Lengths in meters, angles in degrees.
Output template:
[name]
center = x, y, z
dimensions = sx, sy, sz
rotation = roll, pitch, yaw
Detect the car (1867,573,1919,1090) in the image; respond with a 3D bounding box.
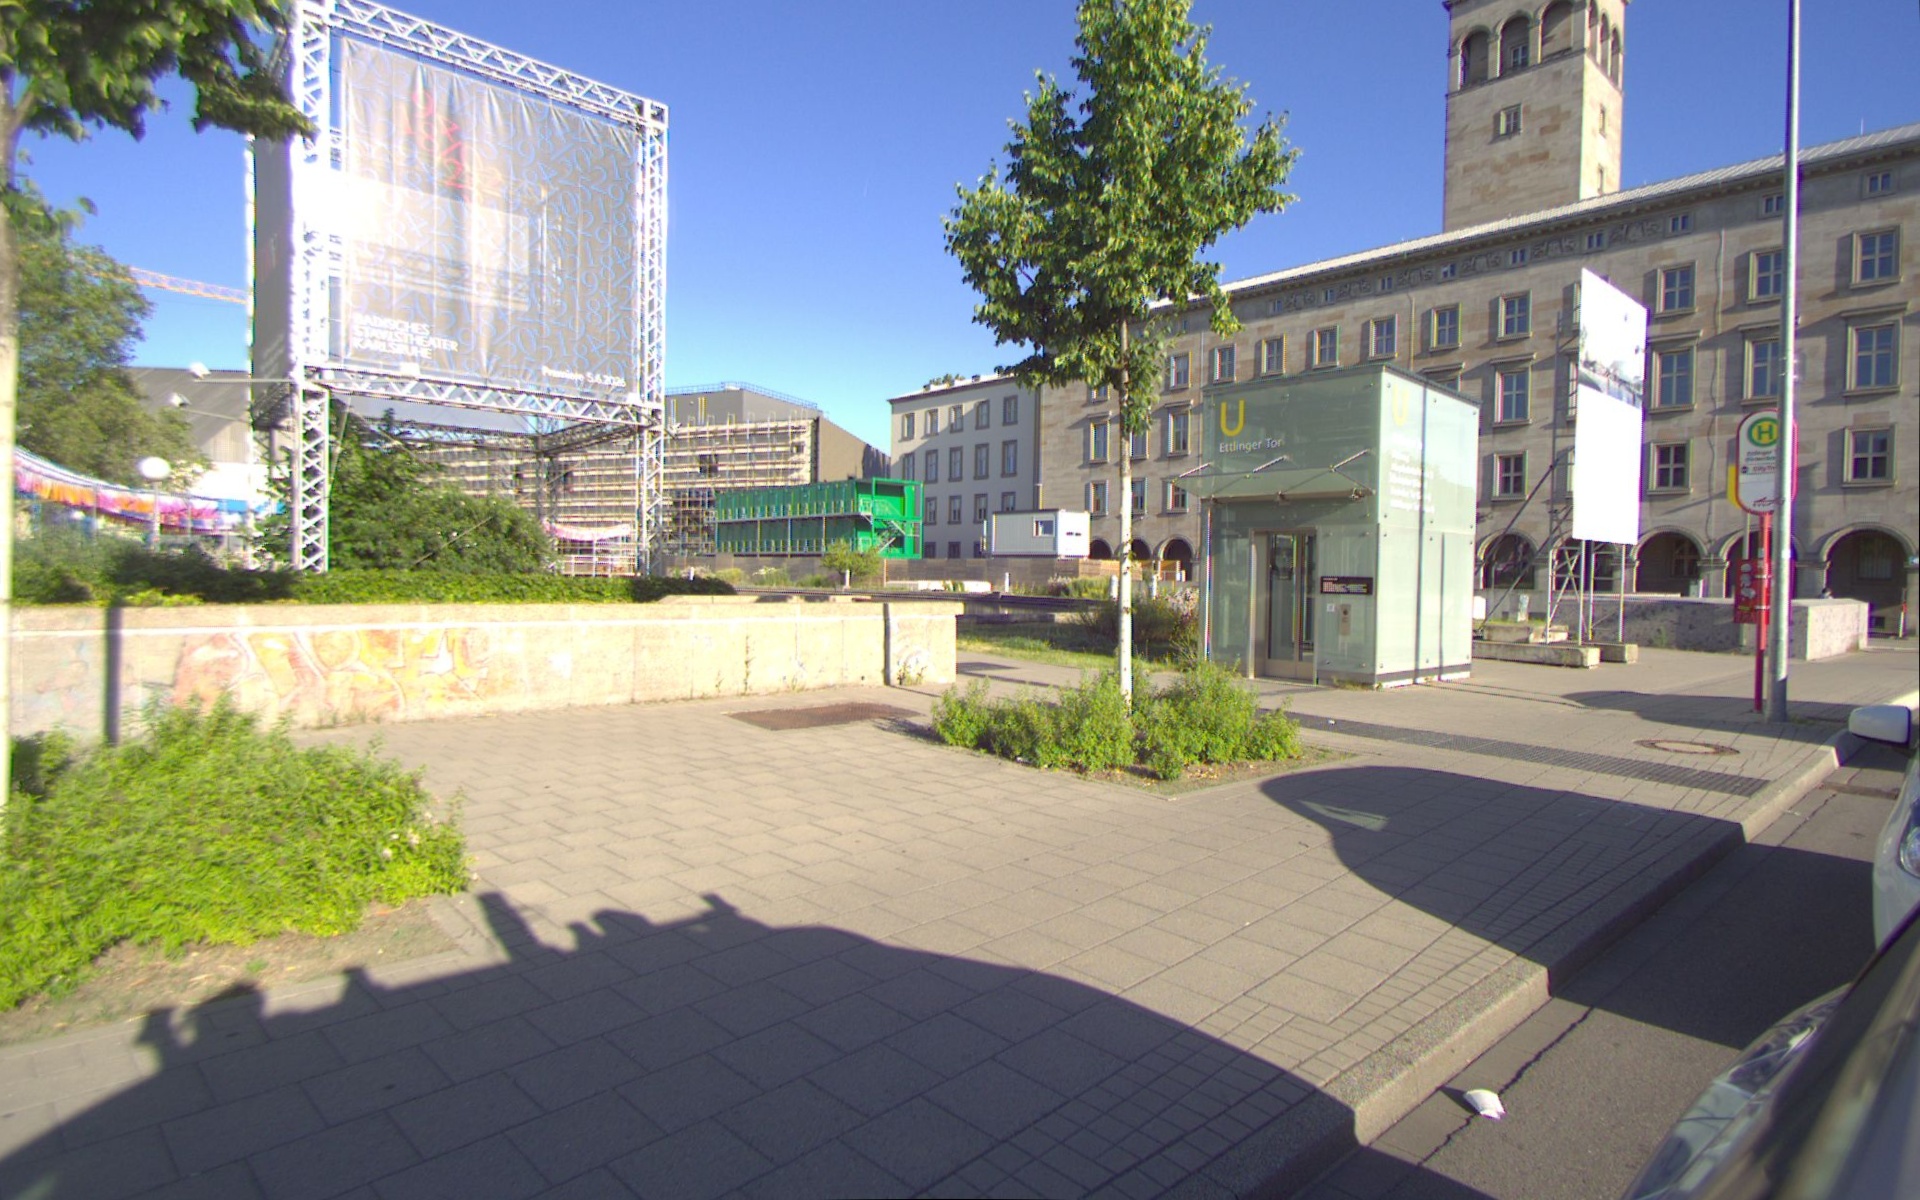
[car]
center = 4.644, 0.675, 3.669
dimensions = 3.930, 1.473, 1.518
rotation = 0, 2, -41

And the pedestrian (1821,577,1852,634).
[pedestrian]
center = 26.745, 0.163, 30.886
dimensions = 0.572, 1.732, 0.595
rotation = 0, 1, -41
